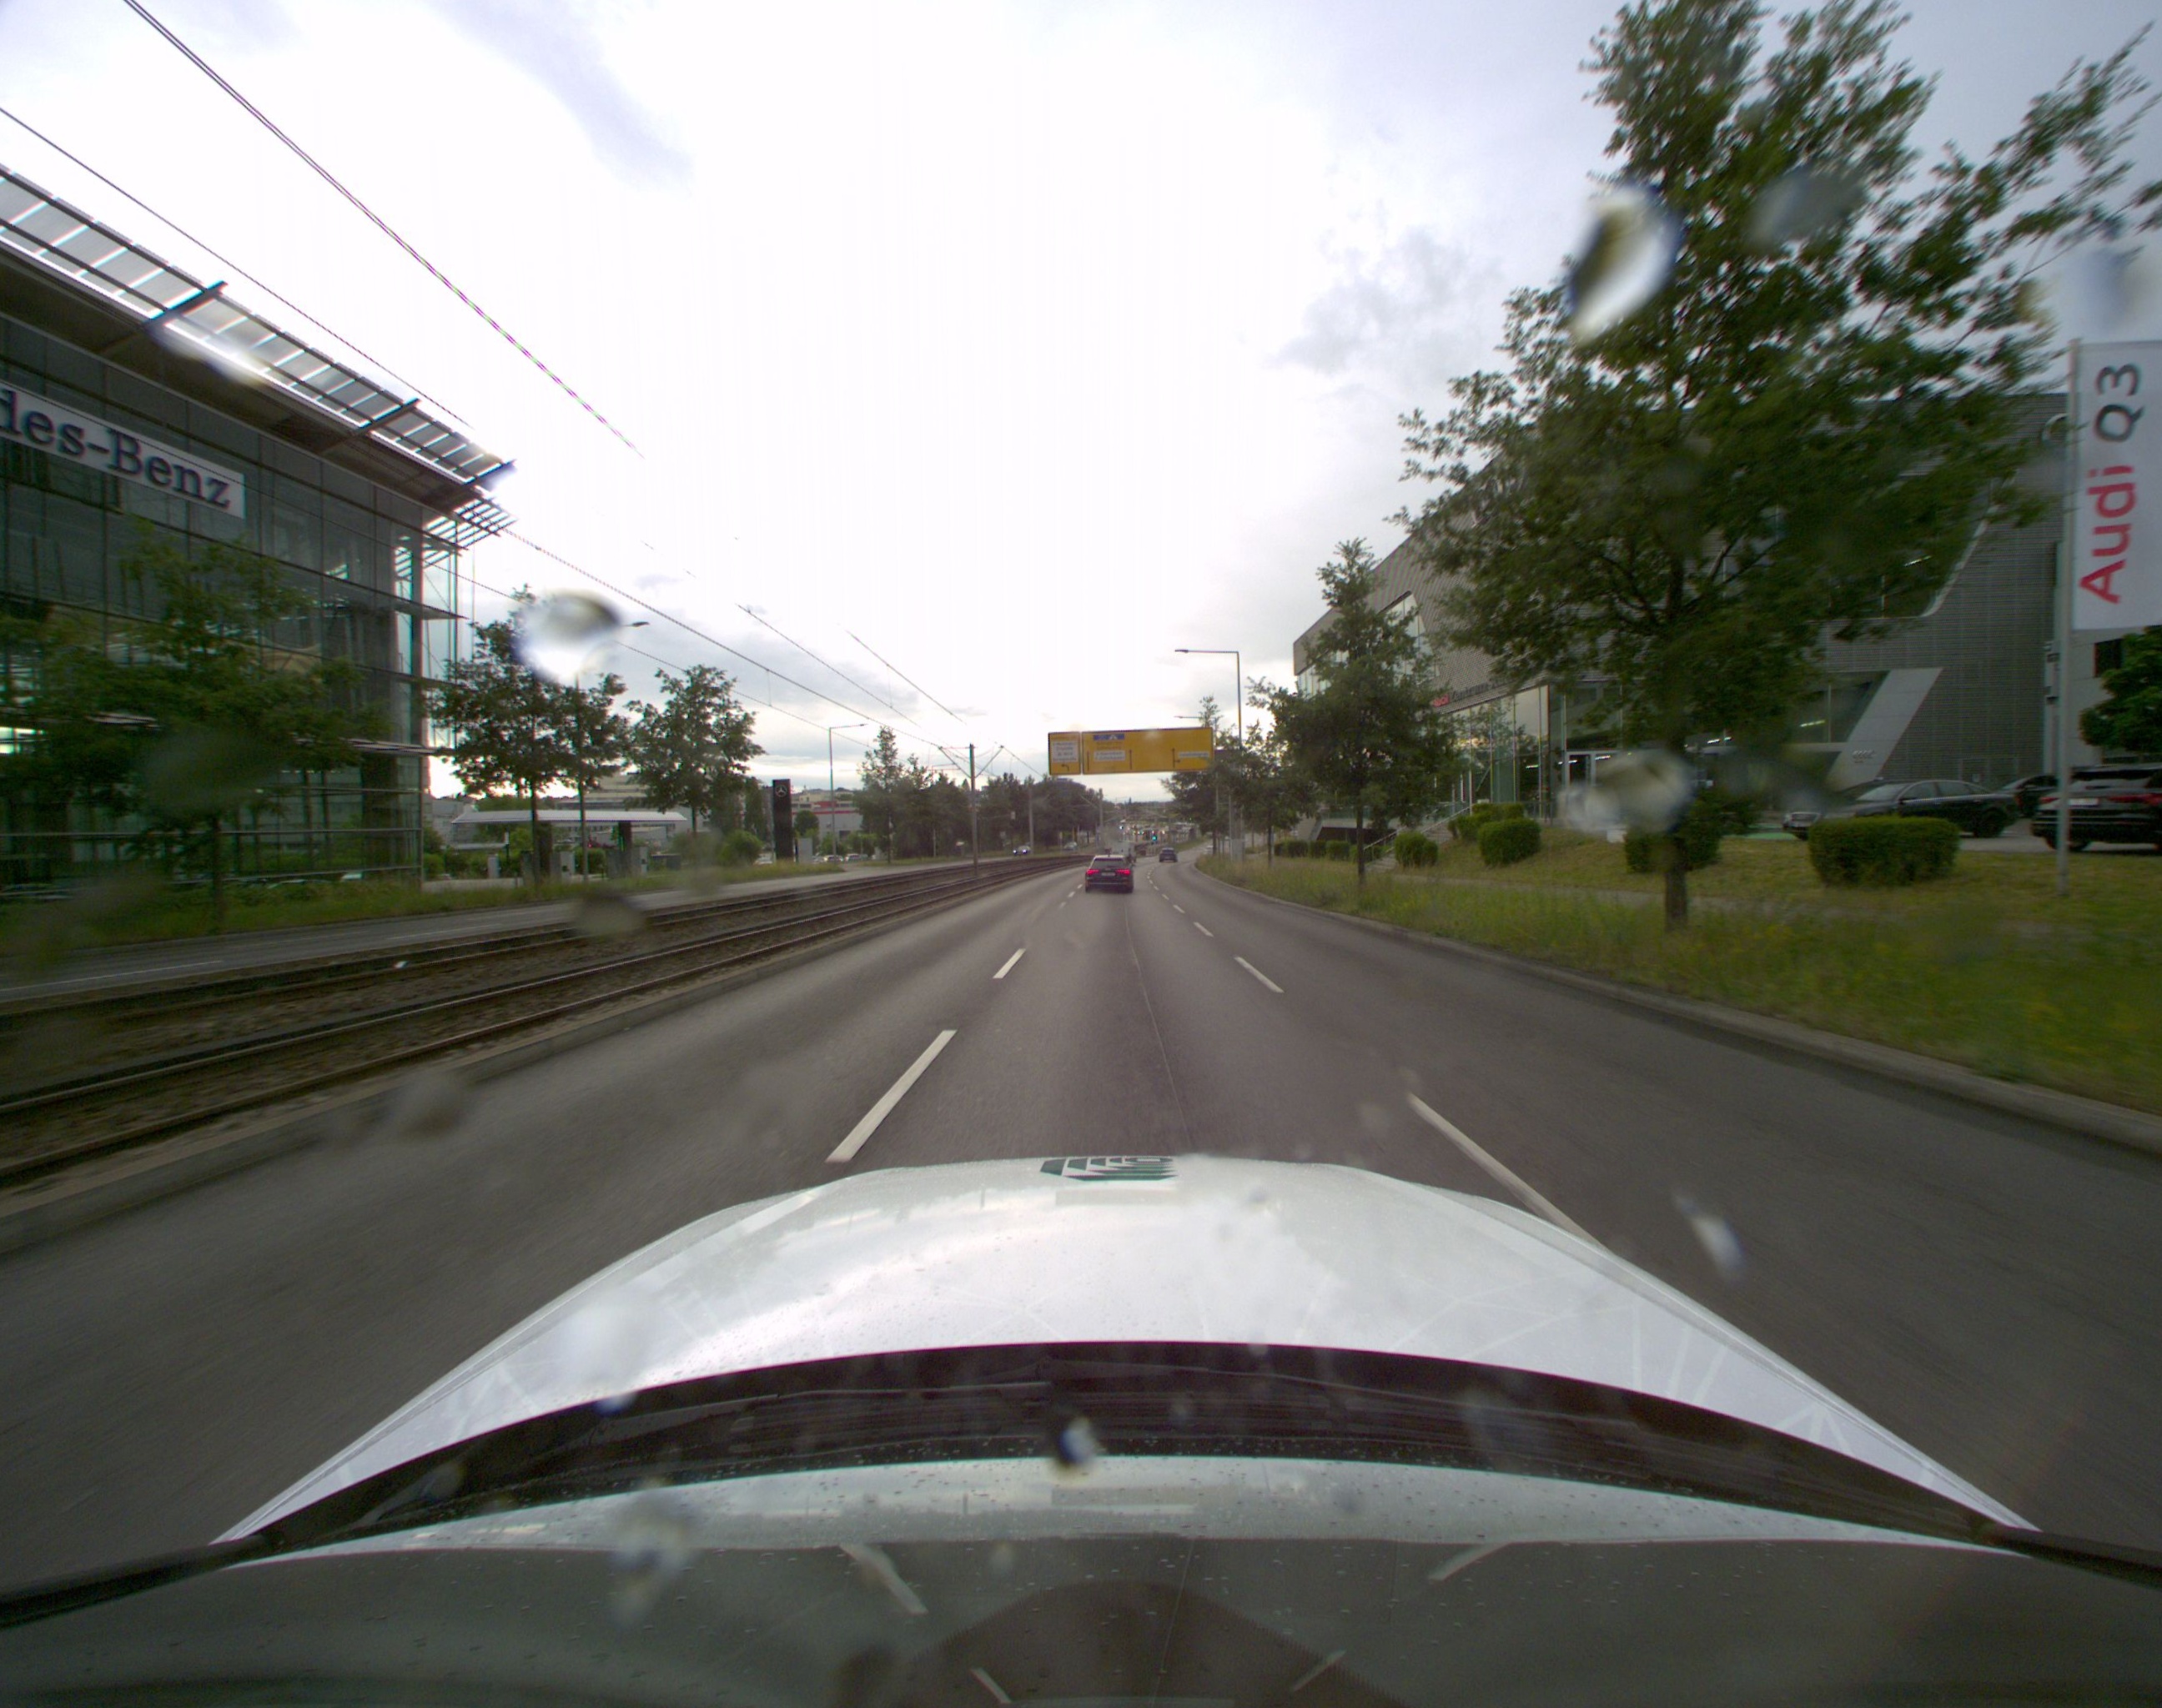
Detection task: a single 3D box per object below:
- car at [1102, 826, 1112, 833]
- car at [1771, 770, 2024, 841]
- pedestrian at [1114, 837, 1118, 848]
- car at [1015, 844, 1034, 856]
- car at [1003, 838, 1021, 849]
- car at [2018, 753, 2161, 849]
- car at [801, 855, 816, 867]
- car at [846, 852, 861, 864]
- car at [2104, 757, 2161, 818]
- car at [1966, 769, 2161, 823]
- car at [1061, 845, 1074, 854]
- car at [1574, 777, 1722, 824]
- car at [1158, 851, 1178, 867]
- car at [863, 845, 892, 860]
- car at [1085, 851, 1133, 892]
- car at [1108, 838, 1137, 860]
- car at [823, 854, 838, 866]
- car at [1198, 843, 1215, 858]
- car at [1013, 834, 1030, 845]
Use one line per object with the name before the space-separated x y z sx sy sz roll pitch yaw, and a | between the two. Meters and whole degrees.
car | 8.412 -7.785 260.597 1.998 2.014 3.977 1 -1 -17
car | 19.461 -1.130 19.538 4.405 1.574 1.693 0 1 0
pedestrian | 6.249 -2.087 145.977 0.632 1.854 0.753 0 -1 13
car | -7.776 -0.575 111.719 1.874 1.520 4.409 -4 1 4
car | -13.196 -1.992 155.422 1.978 2.013 4.017 0 0 17
car | 19.482 -0.906 14.320 4.091 1.574 1.693 0 1 0
car | -35.774 0.940 106.787 1.757 1.494 3.974 1 -1 -19
car | -30.345 0.513 108.523 1.757 1.494 3.974 1 -1 -19
car | 30.814 -1.815 22.056 4.091 1.574 1.693 0 1 0
car | 30.993 -1.808 25.770 4.091 1.574 1.760 0 1 0
car | -2.585 -0.908 157.204 1.982 1.679 4.011 0 1 9
car | 20.651 -1.941 29.770 4.244 1.574 1.693 0 1 0
car | 9.243 0.553 86.363 2.010 1.623 4.009 0 -1 8
car | -23.672 -0.163 94.939 1.983 1.650 4.007 0 -1 7
car | 1.147 0.635 32.127 1.757 1.463 4.630 0 0 3
car | 4.230 -0.449 82.196 2.498 2.177 5.159 0 -1 7
car | -33.154 0.794 107.577 1.757 1.494 3.974 1 -1 -19
car | 16.478 -0.450 106.800 2.008 1.769 4.013 0 3 10
car | -11.732 -2.832 160.569 1.978 2.013 4.017 0 0 17
